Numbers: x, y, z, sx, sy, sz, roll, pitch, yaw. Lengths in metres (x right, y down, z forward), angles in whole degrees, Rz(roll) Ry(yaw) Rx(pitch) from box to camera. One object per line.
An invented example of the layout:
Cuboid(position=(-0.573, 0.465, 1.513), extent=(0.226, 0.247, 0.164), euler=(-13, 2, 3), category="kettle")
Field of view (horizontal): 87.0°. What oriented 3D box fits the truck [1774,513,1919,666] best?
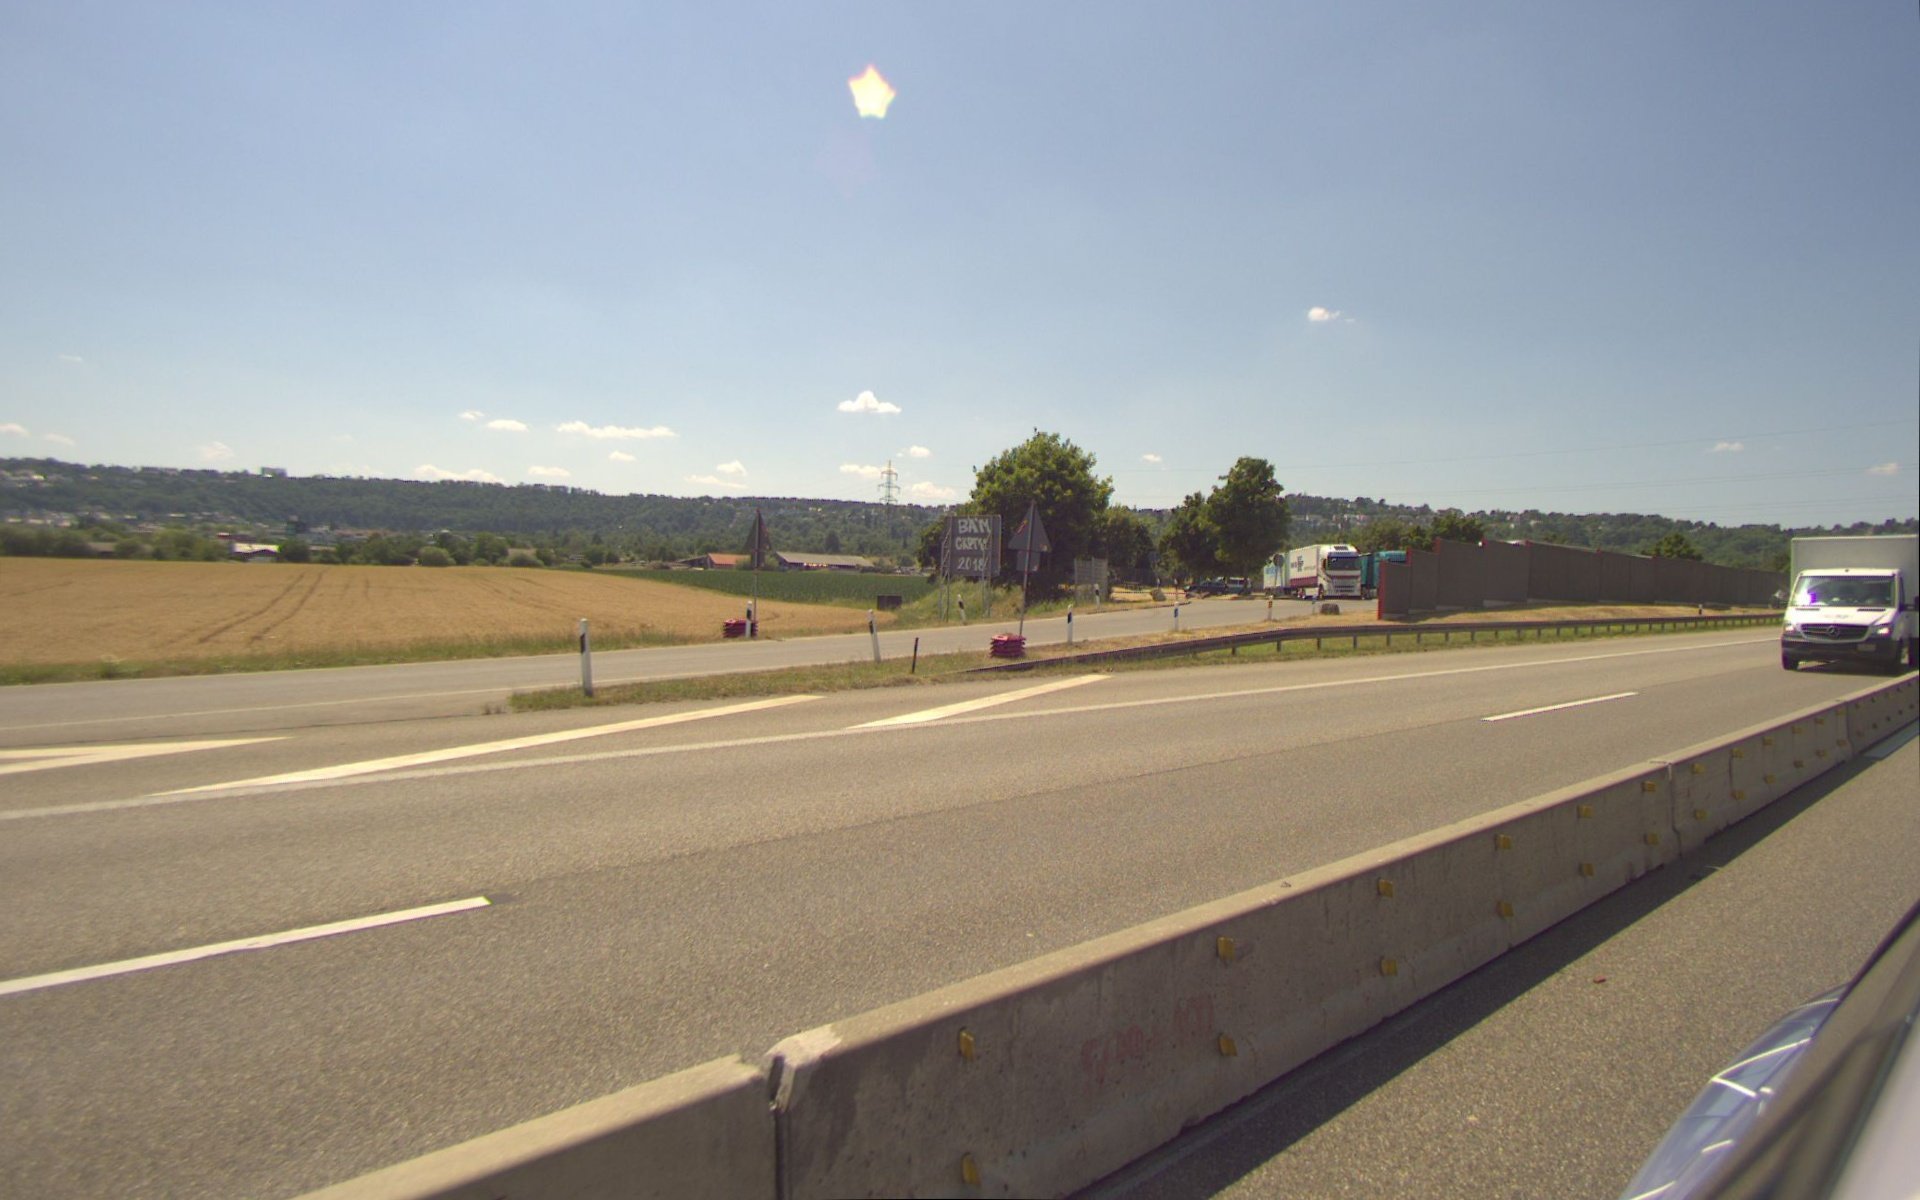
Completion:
Cuboid(position=(21.147, -0.172, 23.517), extent=(6.631, 3.107, 2.325), euler=(1, -1, -41), category="truck")
